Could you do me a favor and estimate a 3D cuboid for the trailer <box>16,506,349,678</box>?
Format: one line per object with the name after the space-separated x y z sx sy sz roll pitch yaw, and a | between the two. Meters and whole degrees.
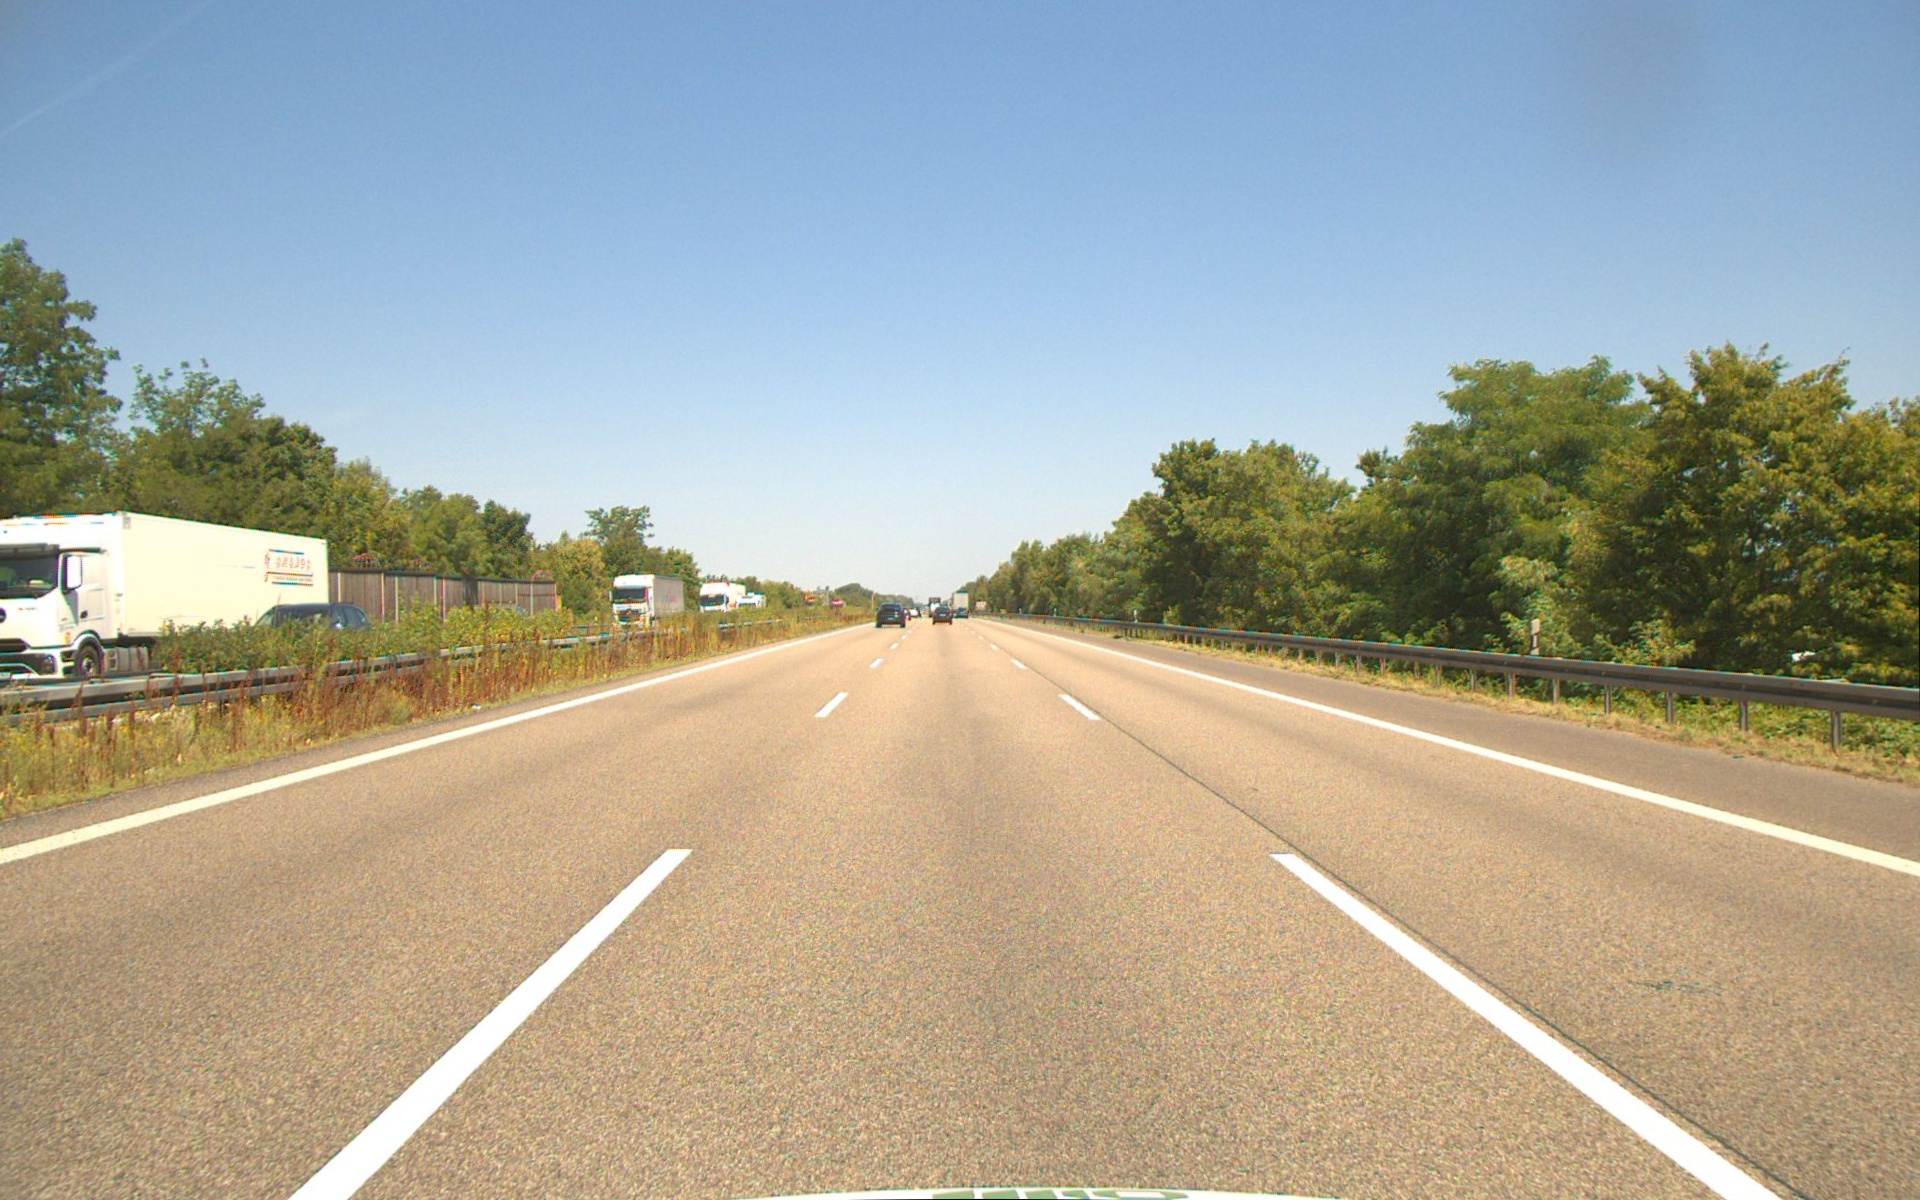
-21.585 -0.207 47.278 3.537 4.175 12.794 -1 0 -1 | trailer

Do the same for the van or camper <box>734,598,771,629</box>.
-18.399 1.194 147.280 2.415 2.622 7.410 0 0 -1 | van or camper

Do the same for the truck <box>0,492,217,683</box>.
-21.537 -0.250 40.119 3.509 4.175 7.837 -1 0 -1 | truck

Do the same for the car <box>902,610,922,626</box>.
-5.325 2.007 182.591 2.085 1.674 4.303 -1 0 0 | car

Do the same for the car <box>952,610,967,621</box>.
-0.070 2.223 240.209 2.085 1.611 4.303 -1 0 0 | car

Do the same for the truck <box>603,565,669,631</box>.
-22.696 -0.124 116.188 3.152 4.517 7.869 0 0 -1 | truck

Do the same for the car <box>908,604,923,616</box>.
-6.413 1.452 238.481 2.085 1.674 4.303 -1 0 0 | car

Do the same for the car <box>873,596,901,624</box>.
-4.982 0.659 113.334 1.842 1.823 3.999 0 1 -2 | car

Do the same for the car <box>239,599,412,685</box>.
-13.107 0.814 34.490 1.785 1.624 4.747 -1 0 -1 | car

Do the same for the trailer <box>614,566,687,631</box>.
-22.811 -0.079 122.687 3.102 4.556 12.950 0 0 0 | trailer

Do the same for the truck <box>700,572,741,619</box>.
-22.272 -0.433 154.085 2.784 4.280 7.713 0 0 -1 | truck

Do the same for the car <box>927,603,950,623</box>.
-1.751 1.087 138.026 1.864 1.611 4.303 -1 0 0 | car
